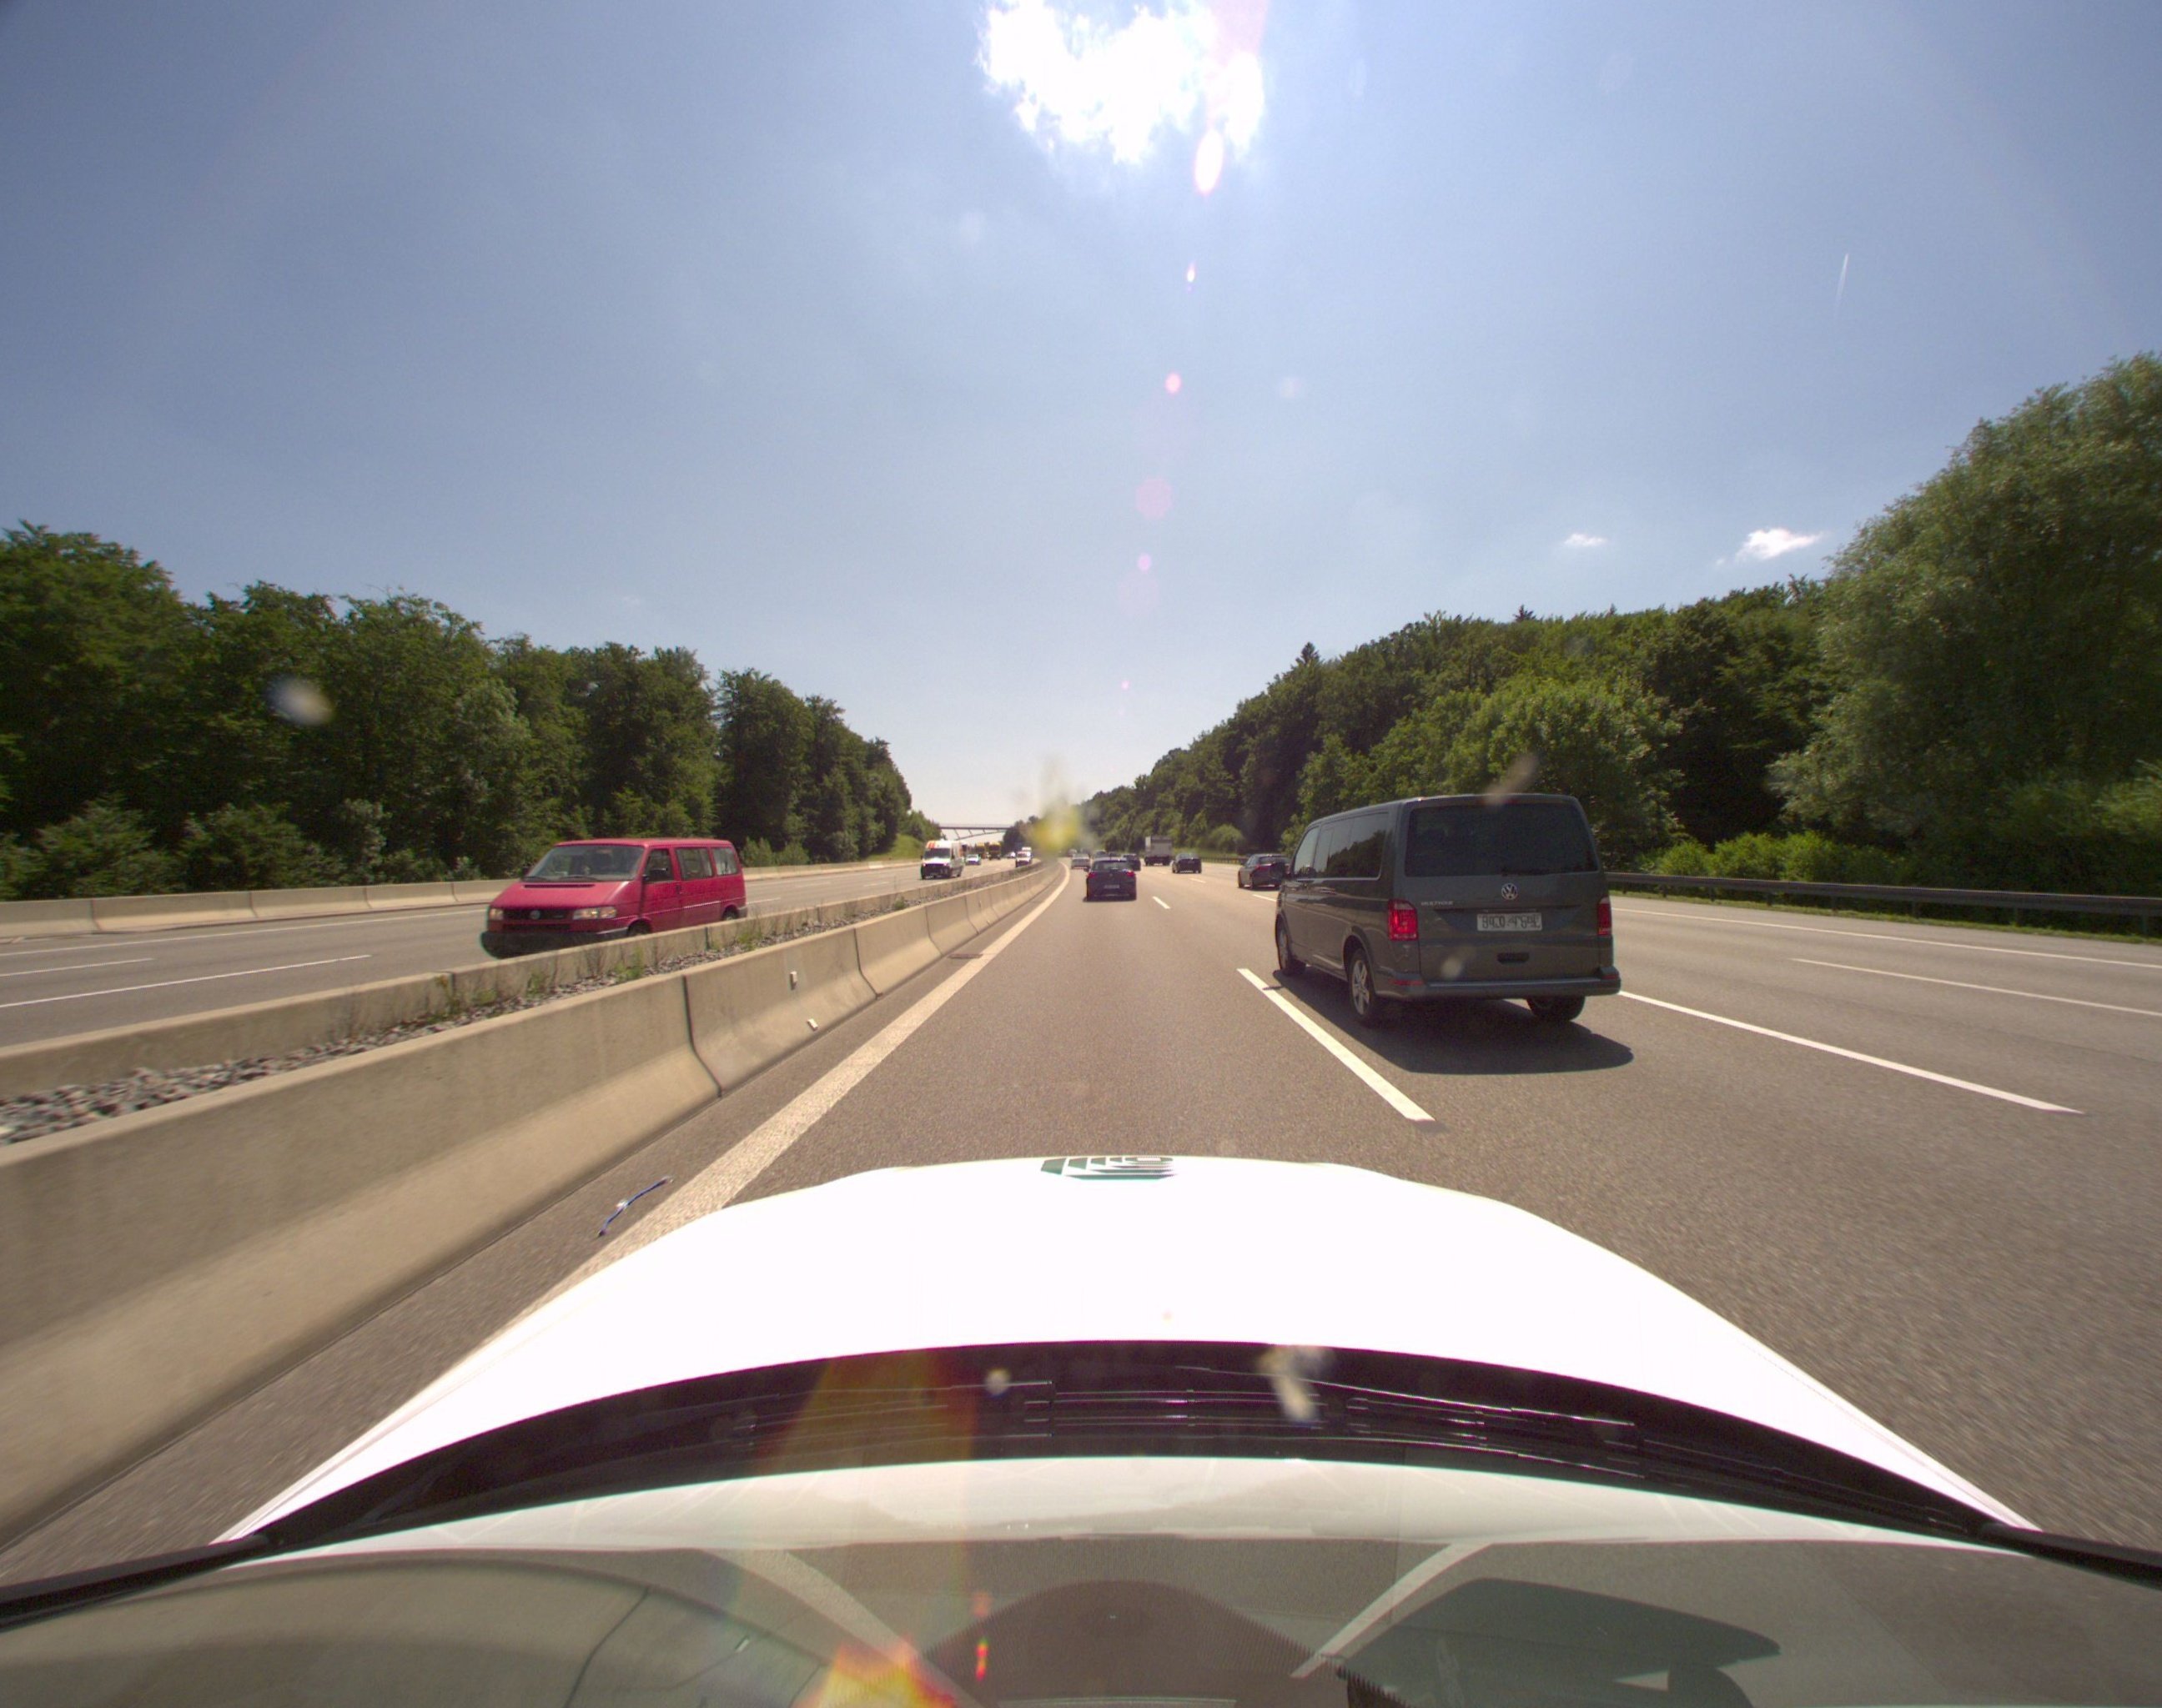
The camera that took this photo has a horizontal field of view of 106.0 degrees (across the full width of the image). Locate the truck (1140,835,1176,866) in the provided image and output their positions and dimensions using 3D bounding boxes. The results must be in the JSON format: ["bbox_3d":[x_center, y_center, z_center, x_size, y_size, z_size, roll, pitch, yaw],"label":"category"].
[{"bbox_3d":[8.451,-0.383,90.369,2.978,3.167,7.569,-1,0,-2],"label":"truck"}]

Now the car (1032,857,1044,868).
[{"bbox_3d":[-8.413,1.688,159.836,1.987,2.014,3.998,0,-2,0],"label":"car"}]

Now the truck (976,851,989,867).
[{"bbox_3d":[-25.403,1.159,209.982,2.743,4.017,6.746,-1,0,-2],"label":"truck"}]

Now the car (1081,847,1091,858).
[{"bbox_3d":[1.261,-0.284,189.490,2.257,2.371,4.701,-1,-1,0],"label":"car"}]

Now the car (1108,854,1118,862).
[{"bbox_3d":[6.972,0.886,176.935,2.138,1.858,3.999,0,-1,0],"label":"car"}]

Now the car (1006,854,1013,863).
[{"bbox_3d":[-18.267,1.190,207.855,1.639,2.014,3.997,0,-2,-2],"label":"car"}]

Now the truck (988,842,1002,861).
[{"bbox_3d":[-18.747,-0.534,177.187,2.524,3.940,6.796,-1,0,-2],"label":"truck"}]

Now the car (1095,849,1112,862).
[{"bbox_3d":[3.183,0.236,115.821,2.097,1.744,4.686,-1,0,-1],"label":"car"}]

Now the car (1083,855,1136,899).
[{"bbox_3d":[1.003,0.743,28.583,1.701,1.433,4.002,0,0,2],"label":"car"}]

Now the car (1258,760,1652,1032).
[{"bbox_3d":[3.360,0.421,8.686,1.955,2.034,5.084,-1,-2,2],"label":"car"}]

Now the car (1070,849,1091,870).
[{"bbox_3d":[-0.059,0.533,79.668,2.007,1.846,3.996,-1,-3,-1],"label":"car"}]

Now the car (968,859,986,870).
[{"bbox_3d":[-14.059,1.432,110.352,1.757,1.482,4.494,0,0,1],"label":"car"}]

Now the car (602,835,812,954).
[{"bbox_3d":[-7.038,0.677,16.052,1.764,1.944,5.086,-1,0,0],"label":"car"}]

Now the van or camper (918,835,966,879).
[{"bbox_3d":[-9.550,0.330,56.547,1.987,2.800,7.412,0,-2,0],"label":"van or camper"}]

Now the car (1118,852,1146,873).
[{"bbox_3d":[4.244,0.742,68.125,1.988,1.728,4.146,-1,-2,-2],"label":"car"}]

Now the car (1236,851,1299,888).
[{"bbox_3d":[7.481,0.587,32.973,1.696,1.396,4.155,-1,0,2],"label":"car"}]

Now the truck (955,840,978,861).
[{"bbox_3d":[-19.607,-0.481,139.450,2.602,3.466,9.878,0,0,-1],"label":"truck"}]

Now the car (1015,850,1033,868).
[{"bbox_3d":[-6.402,0.559,92.492,1.814,1.871,4.586,-1,0,-2],"label":"car"}]

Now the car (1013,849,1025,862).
[{"bbox_3d":[-11.768,0.267,154.542,2.149,2.490,4.698,-1,0,-2],"label":"car"}]

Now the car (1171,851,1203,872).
[{"bbox_3d":[7.528,0.495,58.374,1.660,1.408,4.903,-1,0,0],"label":"car"}]
